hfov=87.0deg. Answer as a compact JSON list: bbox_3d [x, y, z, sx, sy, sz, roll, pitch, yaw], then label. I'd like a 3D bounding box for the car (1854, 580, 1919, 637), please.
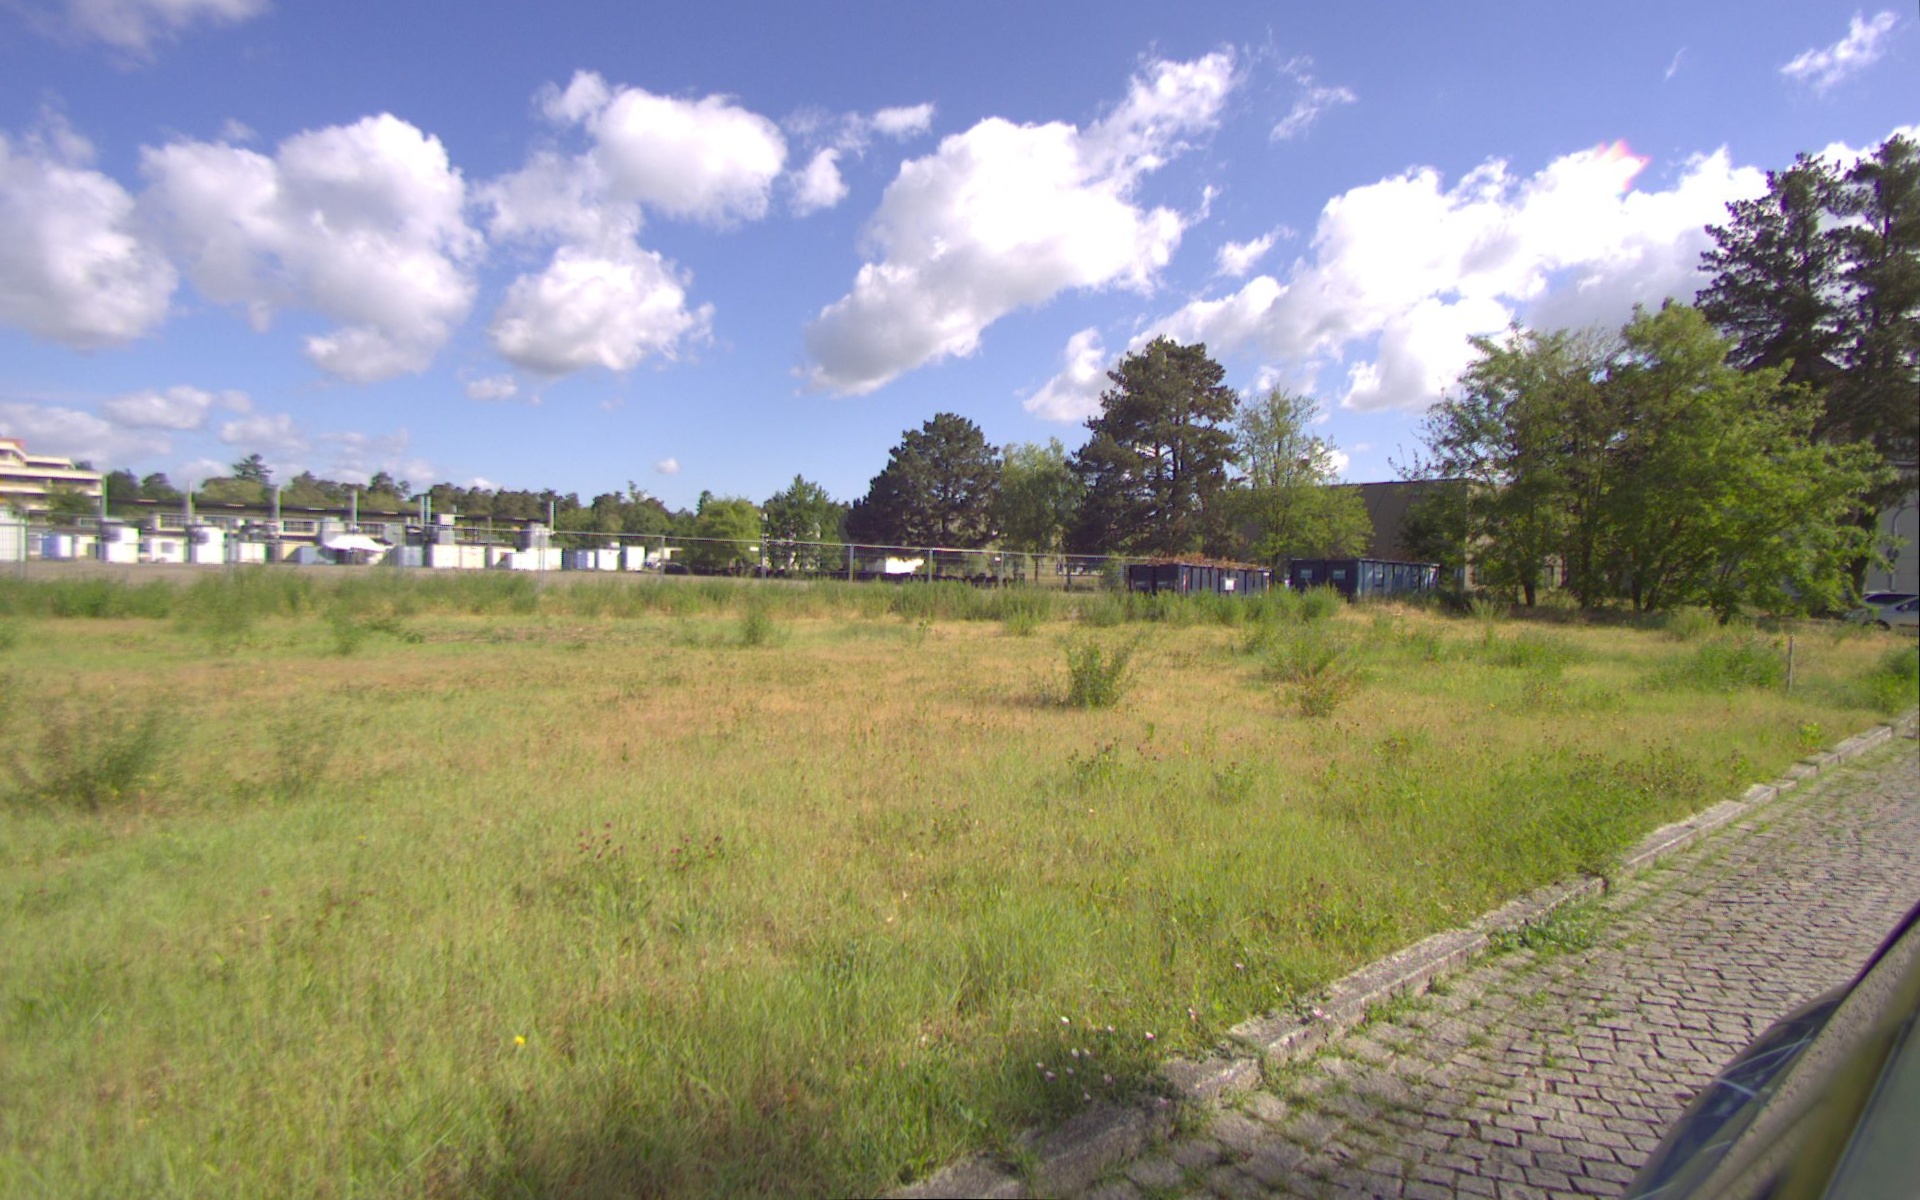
[{"bbox_3d":[27.885,0.330,28.533,1.721,1.493,3.750,0,5,-41],"label":"car"}]

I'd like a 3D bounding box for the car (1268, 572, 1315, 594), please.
[{"bbox_3d":[27.913,-1.472,85.085,3.987,1.582,1.861,-4,5,-38],"label":"car"}]

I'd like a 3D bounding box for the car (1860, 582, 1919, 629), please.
[{"bbox_3d":[33.473,0.299,34.076,1.807,1.482,4.522,-1,5,-42],"label":"car"}]

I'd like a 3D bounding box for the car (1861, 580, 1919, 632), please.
[{"bbox_3d":[29.890,0.308,30.341,1.812,1.458,4.014,0,5,-41],"label":"car"}]

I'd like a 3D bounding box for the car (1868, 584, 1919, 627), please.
[{"bbox_3d":[35.502,0.309,35.959,1.861,1.438,4.549,0,5,-40],"label":"car"}]
